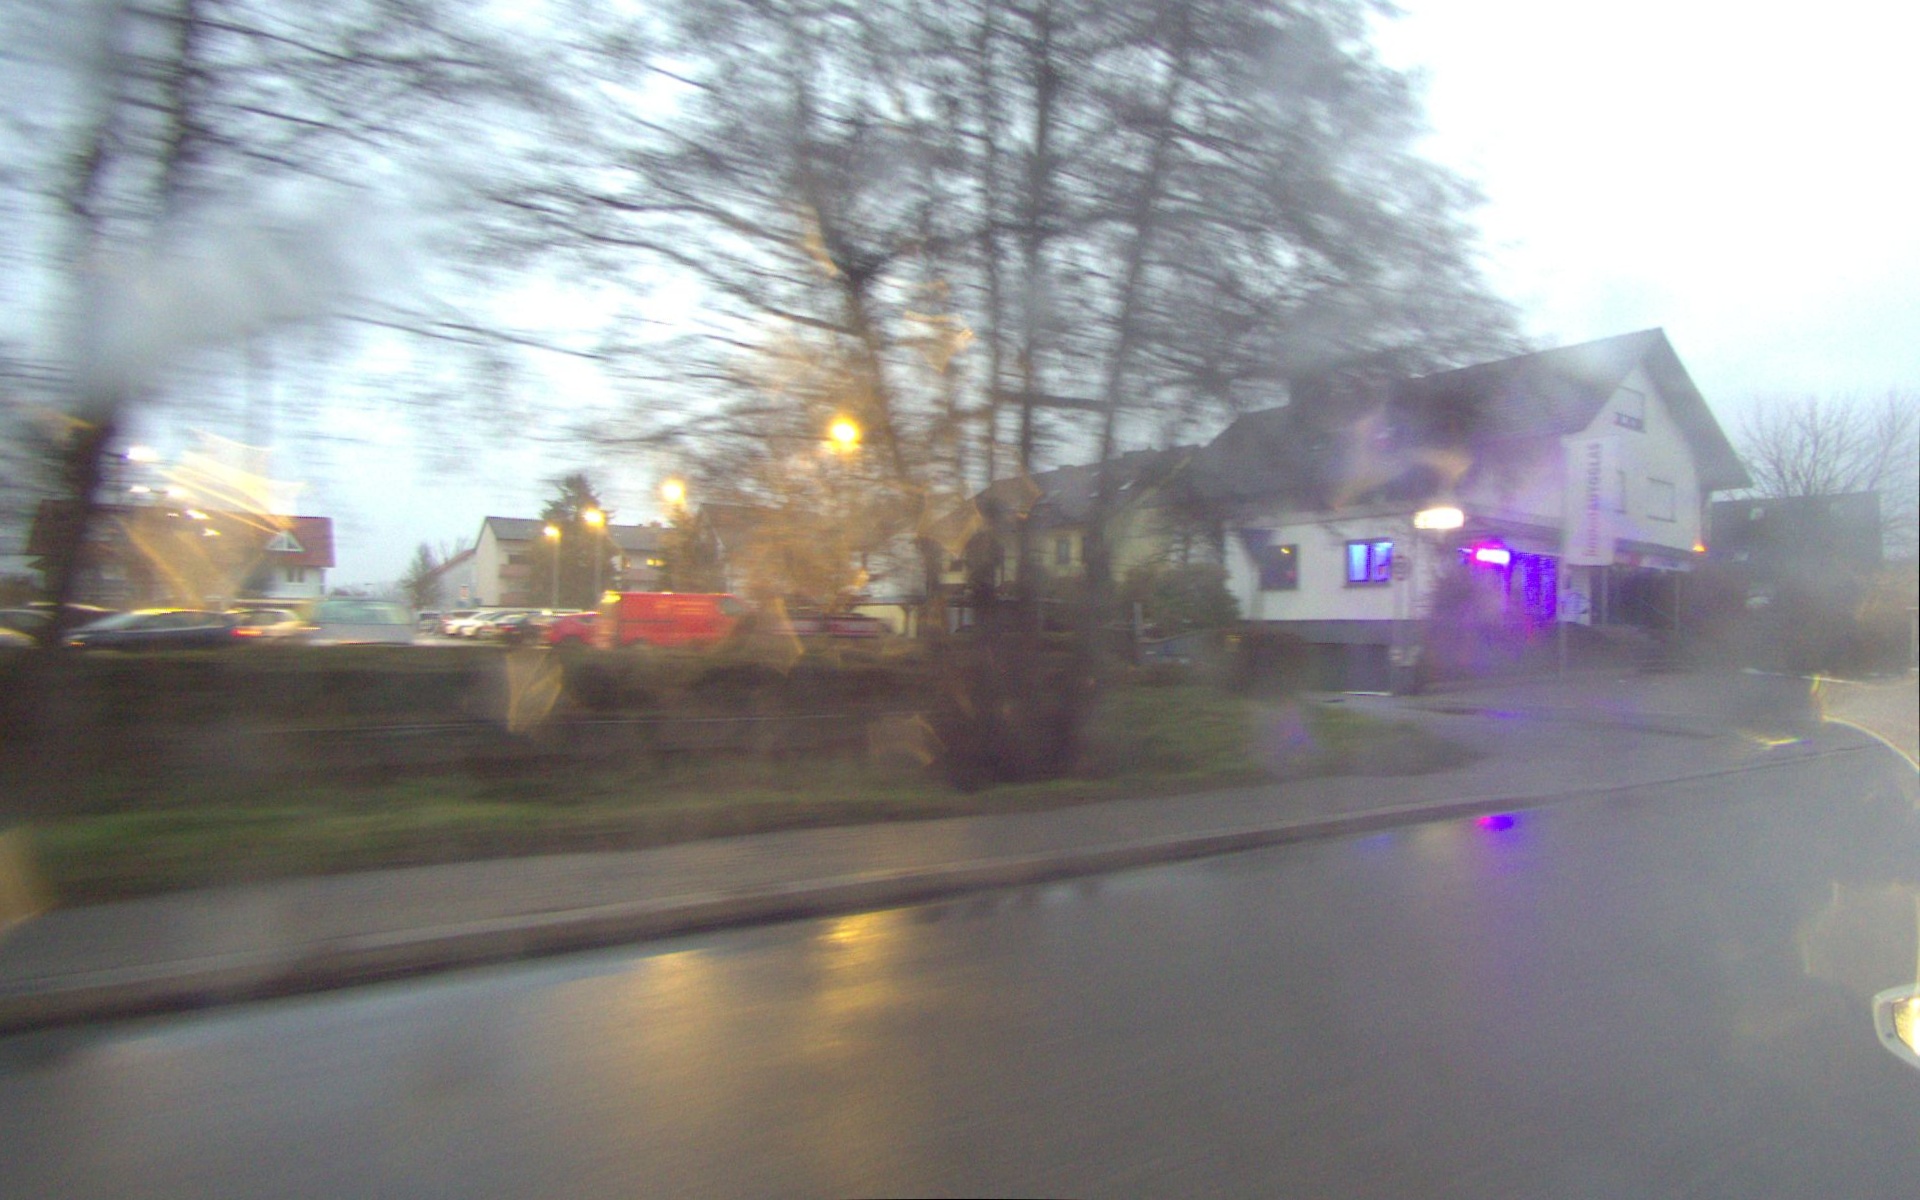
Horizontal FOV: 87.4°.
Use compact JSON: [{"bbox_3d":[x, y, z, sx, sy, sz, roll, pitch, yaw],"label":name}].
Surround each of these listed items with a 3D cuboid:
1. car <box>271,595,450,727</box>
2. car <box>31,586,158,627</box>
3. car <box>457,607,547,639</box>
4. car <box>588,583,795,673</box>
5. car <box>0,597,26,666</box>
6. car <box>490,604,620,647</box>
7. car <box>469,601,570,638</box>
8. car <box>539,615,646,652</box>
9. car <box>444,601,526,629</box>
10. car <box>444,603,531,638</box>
[{"bbox_3d":[-11.172,0.967,18.561,2.111,2.003,4.605,0,2,-40],"label":"car"},{"bbox_3d":[-36.326,0.244,42.300,3.966,1.639,1.896,-1,2,-39],"label":"car"},{"bbox_3d":[-26.083,1.283,57.217,4.469,1.662,1.920,0,3,-33],"label":"car"},{"bbox_3d":[-7.555,0.703,28.451,5.214,2.310,2.266,0,2,-34],"label":"car"},{"bbox_3d":[-25.123,0.773,23.999,3.966,1.639,1.896,-1,2,-39],"label":"car"},{"bbox_3d":[-16.489,1.007,40.931,4.613,1.590,2.034,0,2,-34],"label":"car"},{"bbox_3d":[-22.252,0.950,50.772,4.469,1.662,1.920,0,3,-33],"label":"car"},{"bbox_3d":[-13.149,1.156,35.996,3.358,1.146,1.550,0,3,-35],"label":"car"},{"bbox_3d":[-30.151,0.930,63.817,4.472,1.662,1.918,0,3,-35],"label":"car"},{"bbox_3d":[-29.018,1.203,61.691,4.613,2.003,2.108,0,2,-34],"label":"car"}]
